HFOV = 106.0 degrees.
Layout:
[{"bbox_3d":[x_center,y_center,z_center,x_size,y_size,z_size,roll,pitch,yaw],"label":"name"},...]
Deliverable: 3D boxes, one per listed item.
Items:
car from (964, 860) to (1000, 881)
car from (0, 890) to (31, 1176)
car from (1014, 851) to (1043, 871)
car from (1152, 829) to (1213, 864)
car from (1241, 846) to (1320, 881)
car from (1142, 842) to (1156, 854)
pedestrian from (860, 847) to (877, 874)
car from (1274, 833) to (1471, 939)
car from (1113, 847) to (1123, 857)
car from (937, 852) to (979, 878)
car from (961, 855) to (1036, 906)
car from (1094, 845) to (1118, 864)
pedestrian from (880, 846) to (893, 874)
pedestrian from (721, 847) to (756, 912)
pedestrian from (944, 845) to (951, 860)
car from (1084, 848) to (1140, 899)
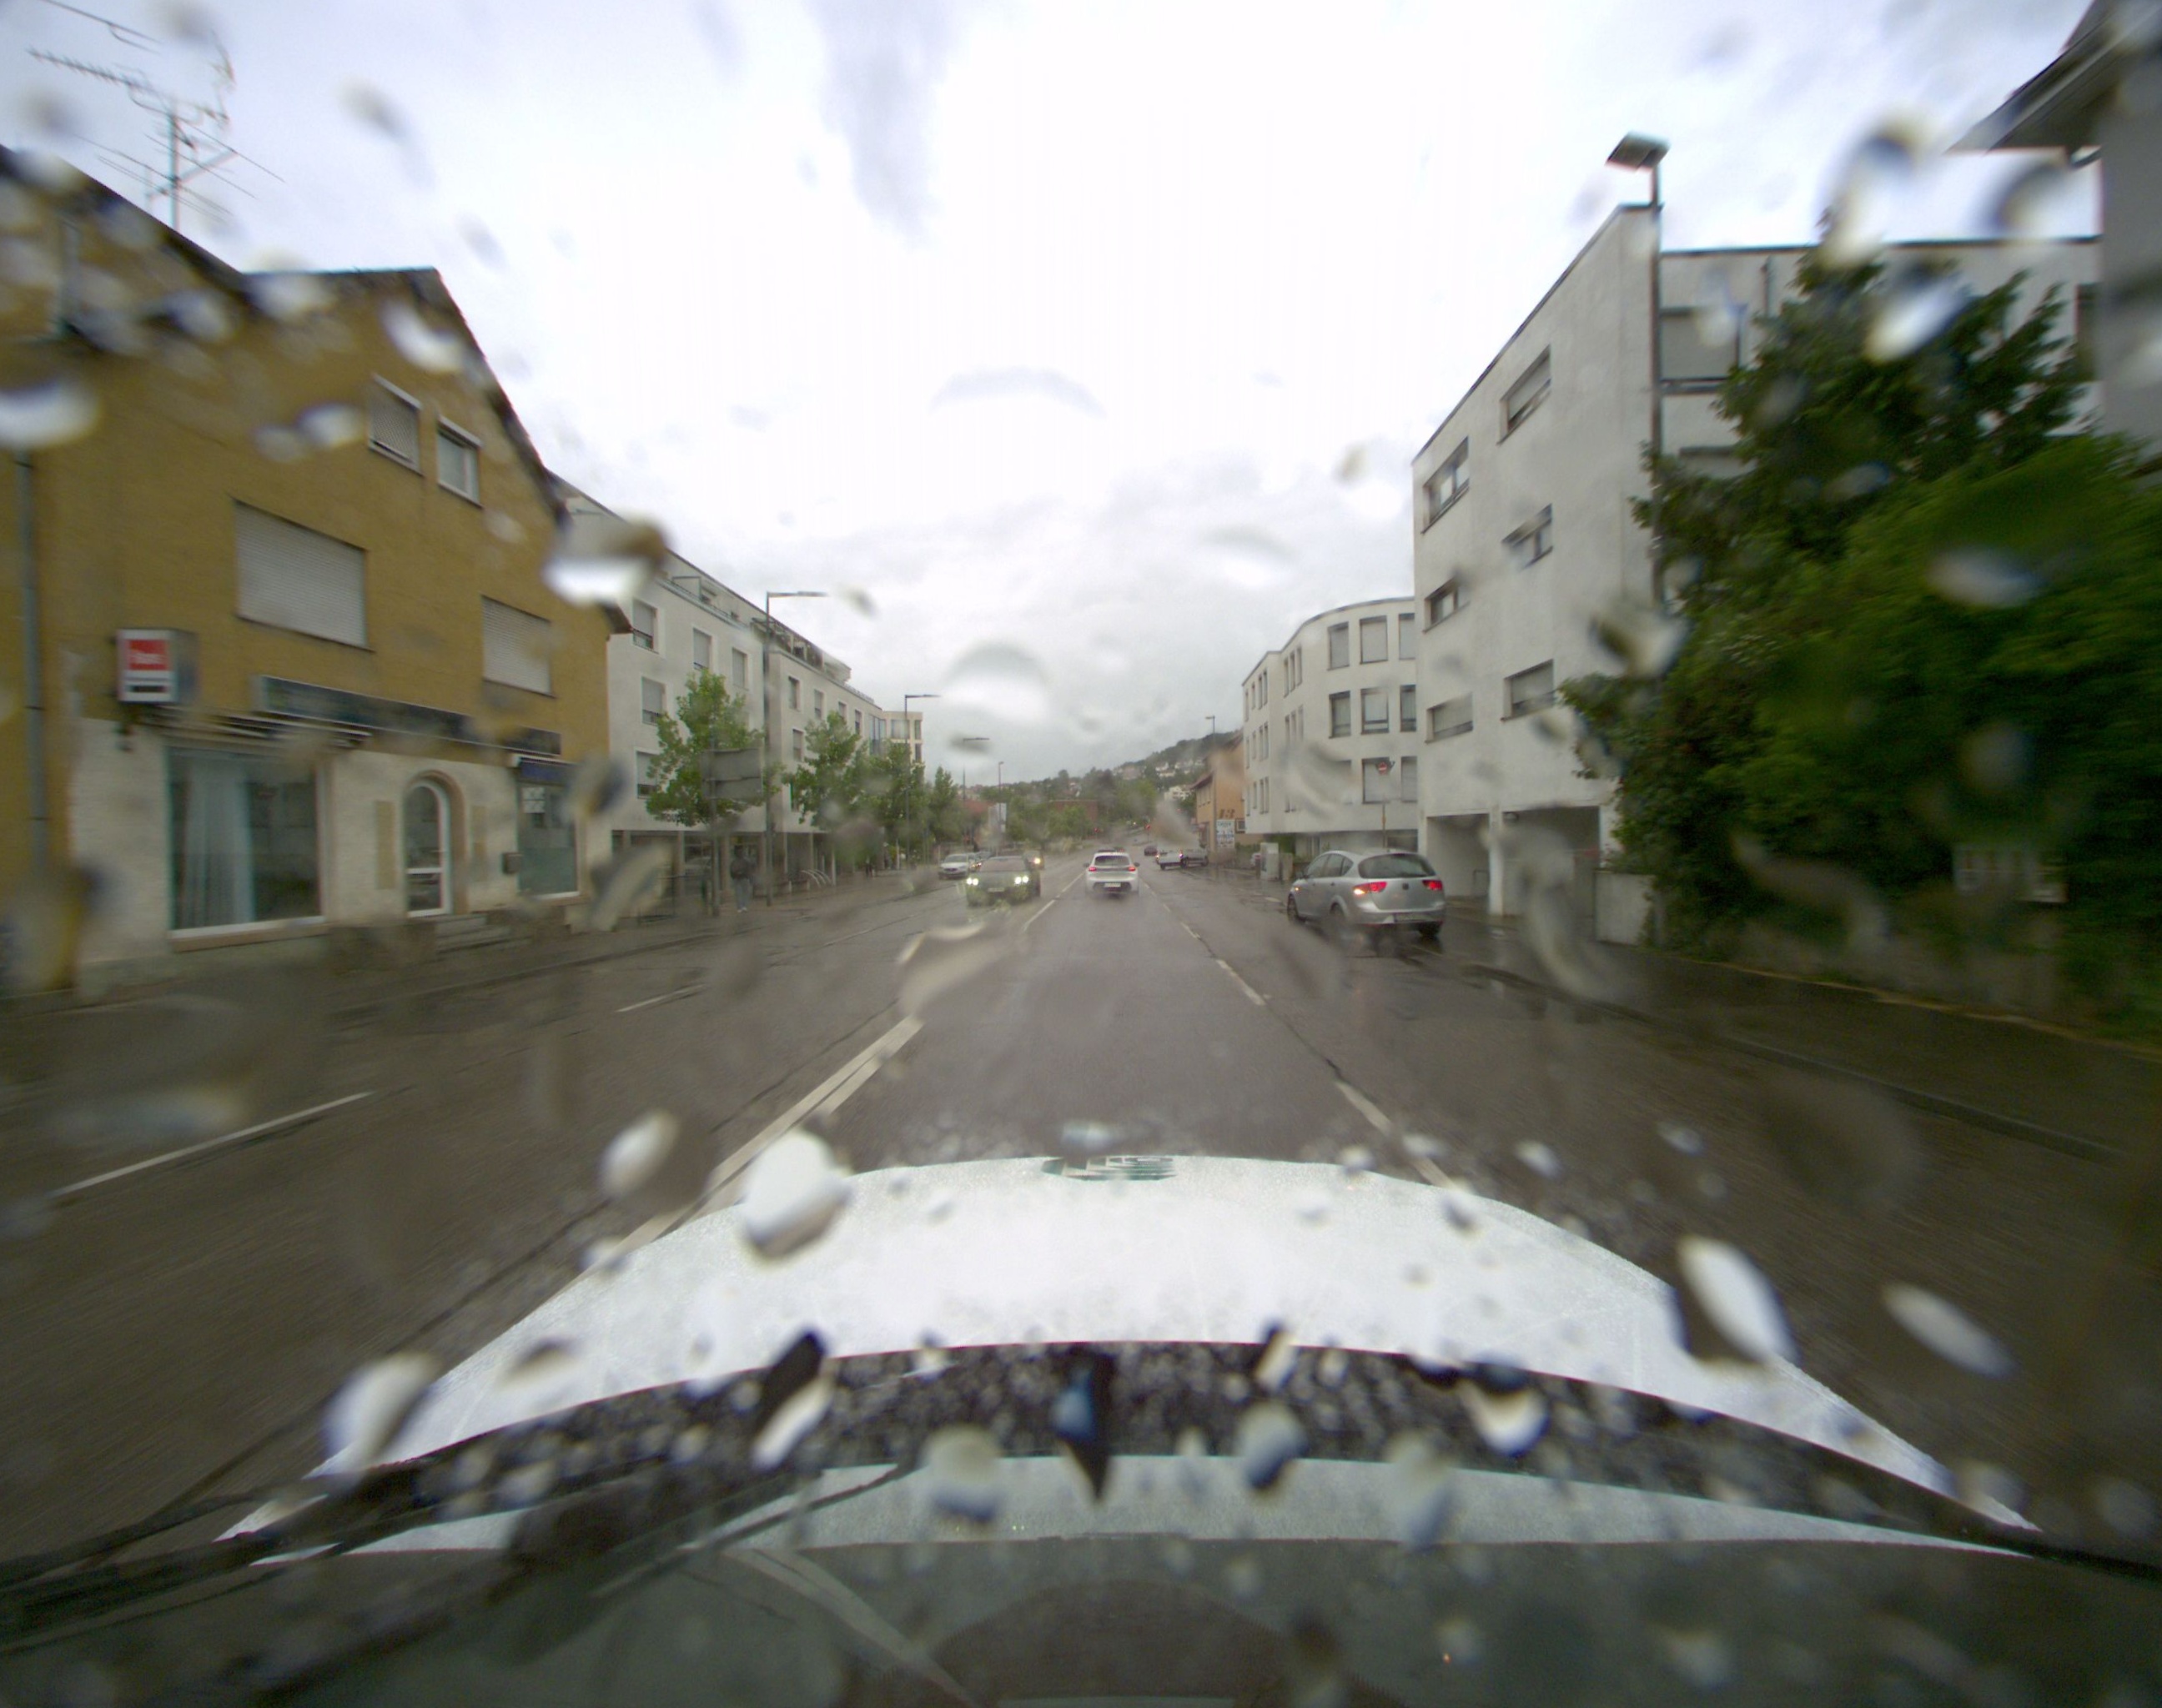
[{"bbox_3d":[-7.362,1.219,61.042,1.683,1.510,4.583,-2,-1,5],"label":"car"},{"bbox_3d":[-6.329,0.926,2.127,1.643,1.418,4.141,-4,-1,3],"label":"car"},{"bbox_3d":[-4.136,0.572,64.615,1.873,1.524,4.186,-2,-1,2],"label":"car"},{"bbox_3d":[7.565,-0.510,60.070,2.269,2.382,6.664,-2,-1,26],"label":"car"},{"bbox_3d":[10.705,0.492,43.897,3.778,1.530,1.821,5,1,1],"label":"car"},{"bbox_3d":[9.576,-0.877,114.677,1.728,1.387,3.354,0,4,1],"label":"car"},{"bbox_3d":[-14.075,0.411,53.977,0.806,1.738,1.003,-2,-1,1],"label":"pedestrian"},{"bbox_3d":[5.065,0.561,14.878,2.005,1.622,4.359,-1,-2,0],"label":"car"},{"bbox_3d":[4.697,-0.231,103.574,1.209,1.156,2.269,-2,-1,0],"label":"car"},{"bbox_3d":[-7.326,0.659,48.931,1.789,1.463,4.478,-1,-1,0],"label":"car"},{"bbox_3d":[-2.518,0.798,25.869,1.761,1.413,4.527,-2,-1,1],"label":"car"},{"bbox_3d":[1.900,0.009,60.946,1.734,1.295,3.336,-2,0,3],"label":"car"},{"bbox_3d":[-15.318,0.494,64.030,0.743,2.145,0.772,-1,-1,8],"label":"pedestrian"},{"bbox_3d":[-9.752,0.729,23.206,0.803,1.788,0.877,-2,-1,-18],"label":"pedestrian"},{"bbox_3d":[-15.560,-0.175,94.777,0.783,1.745,0.671,-2,-1,-12],"label":"pedestrian"},{"bbox_3d":[1.038,0.634,27.130,1.684,1.519,3.935,-2,-1,2],"label":"car"}]
